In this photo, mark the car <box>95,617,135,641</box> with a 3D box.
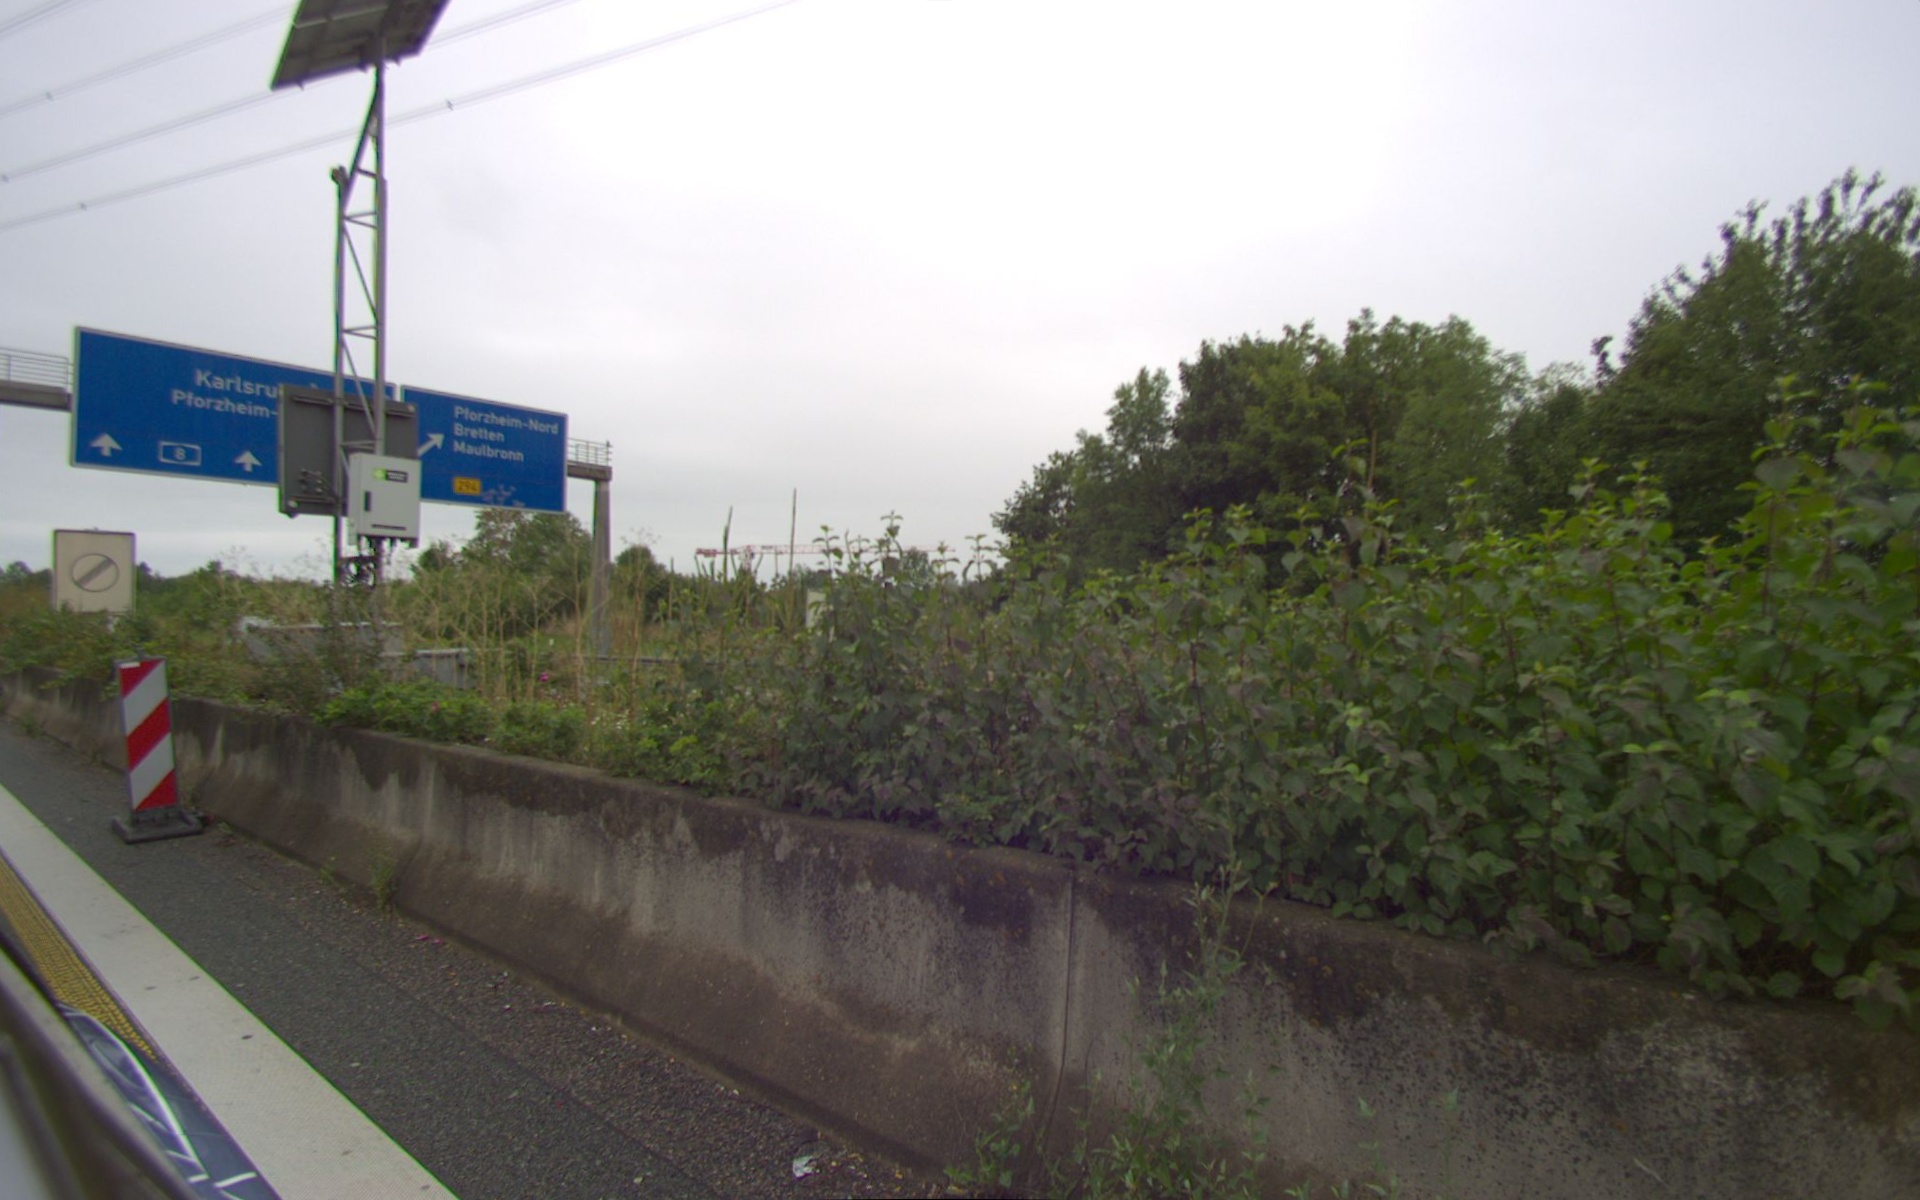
[{"bbox_3d":[-73.801,2.527,88.367,5.057,2.029,1.973,-1,-1,41],"label":"car"}]

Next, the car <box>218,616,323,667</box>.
[{"bbox_3d":[-25.275,1.468,37.014,5.057,1.740,1.973,-1,-1,41],"label":"car"}]
